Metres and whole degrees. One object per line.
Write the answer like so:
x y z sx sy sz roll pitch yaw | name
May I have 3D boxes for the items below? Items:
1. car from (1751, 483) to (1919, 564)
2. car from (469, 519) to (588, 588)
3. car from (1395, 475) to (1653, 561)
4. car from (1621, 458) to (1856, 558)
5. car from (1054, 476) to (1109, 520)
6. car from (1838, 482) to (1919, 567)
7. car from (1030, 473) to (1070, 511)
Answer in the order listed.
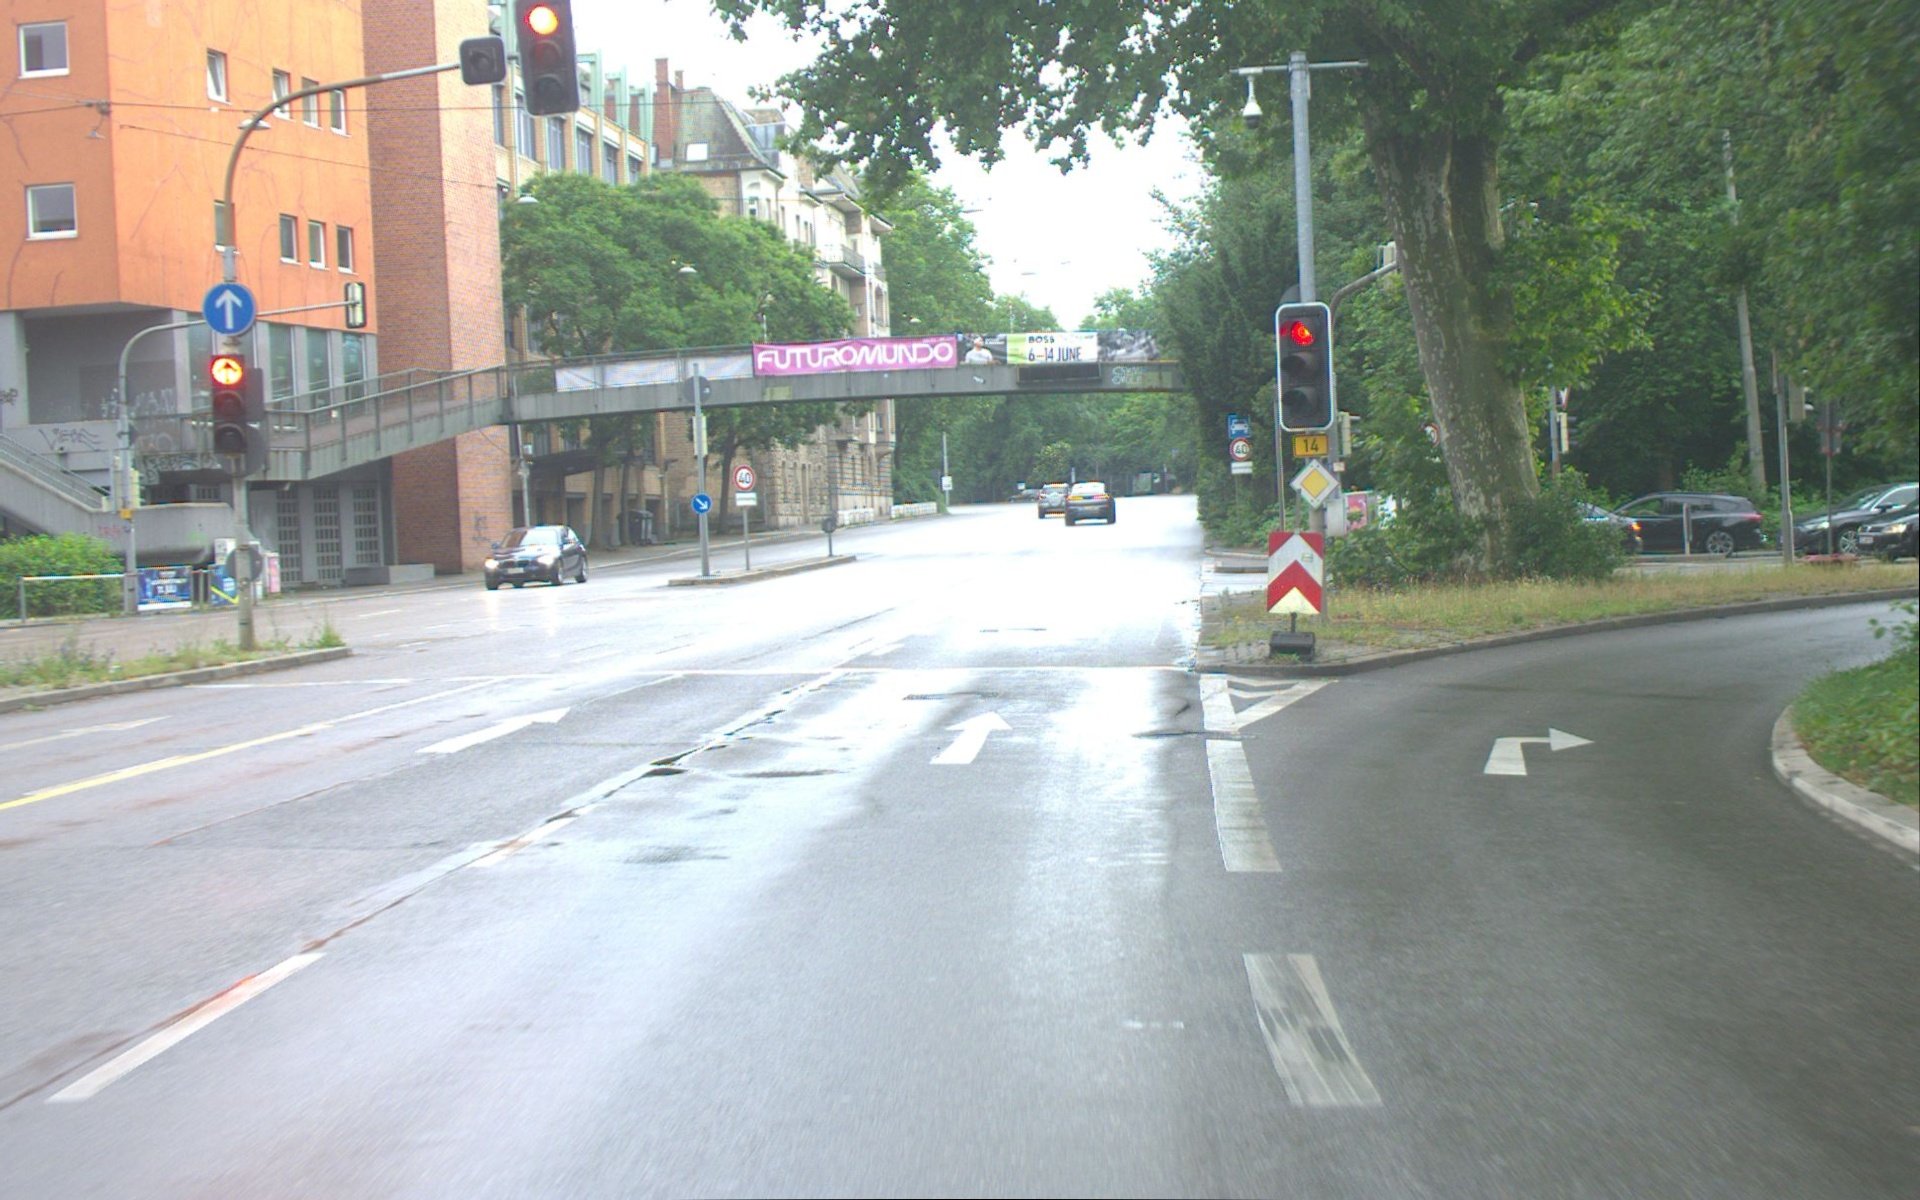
17.525 -1.490 66.333 3.986 1.481 1.879 -2 1 -16 | car
-10.073 -1.108 80.533 1.994 1.514 4.000 -2 1 3 | car
10.949 -1.593 66.913 4.603 1.446 1.774 -3 1 -4 | car
16.667 -1.965 73.725 4.338 1.829 2.136 -4 1 -7 | car
4.988 -4.191 141.482 2.120 1.729 4.199 -1 2 1 | car
18.100 -1.407 62.290 3.853 1.480 1.673 -2 1 -11 | car
4.397 -5.251 167.379 1.763 1.691 3.705 -4 1 3 | car
